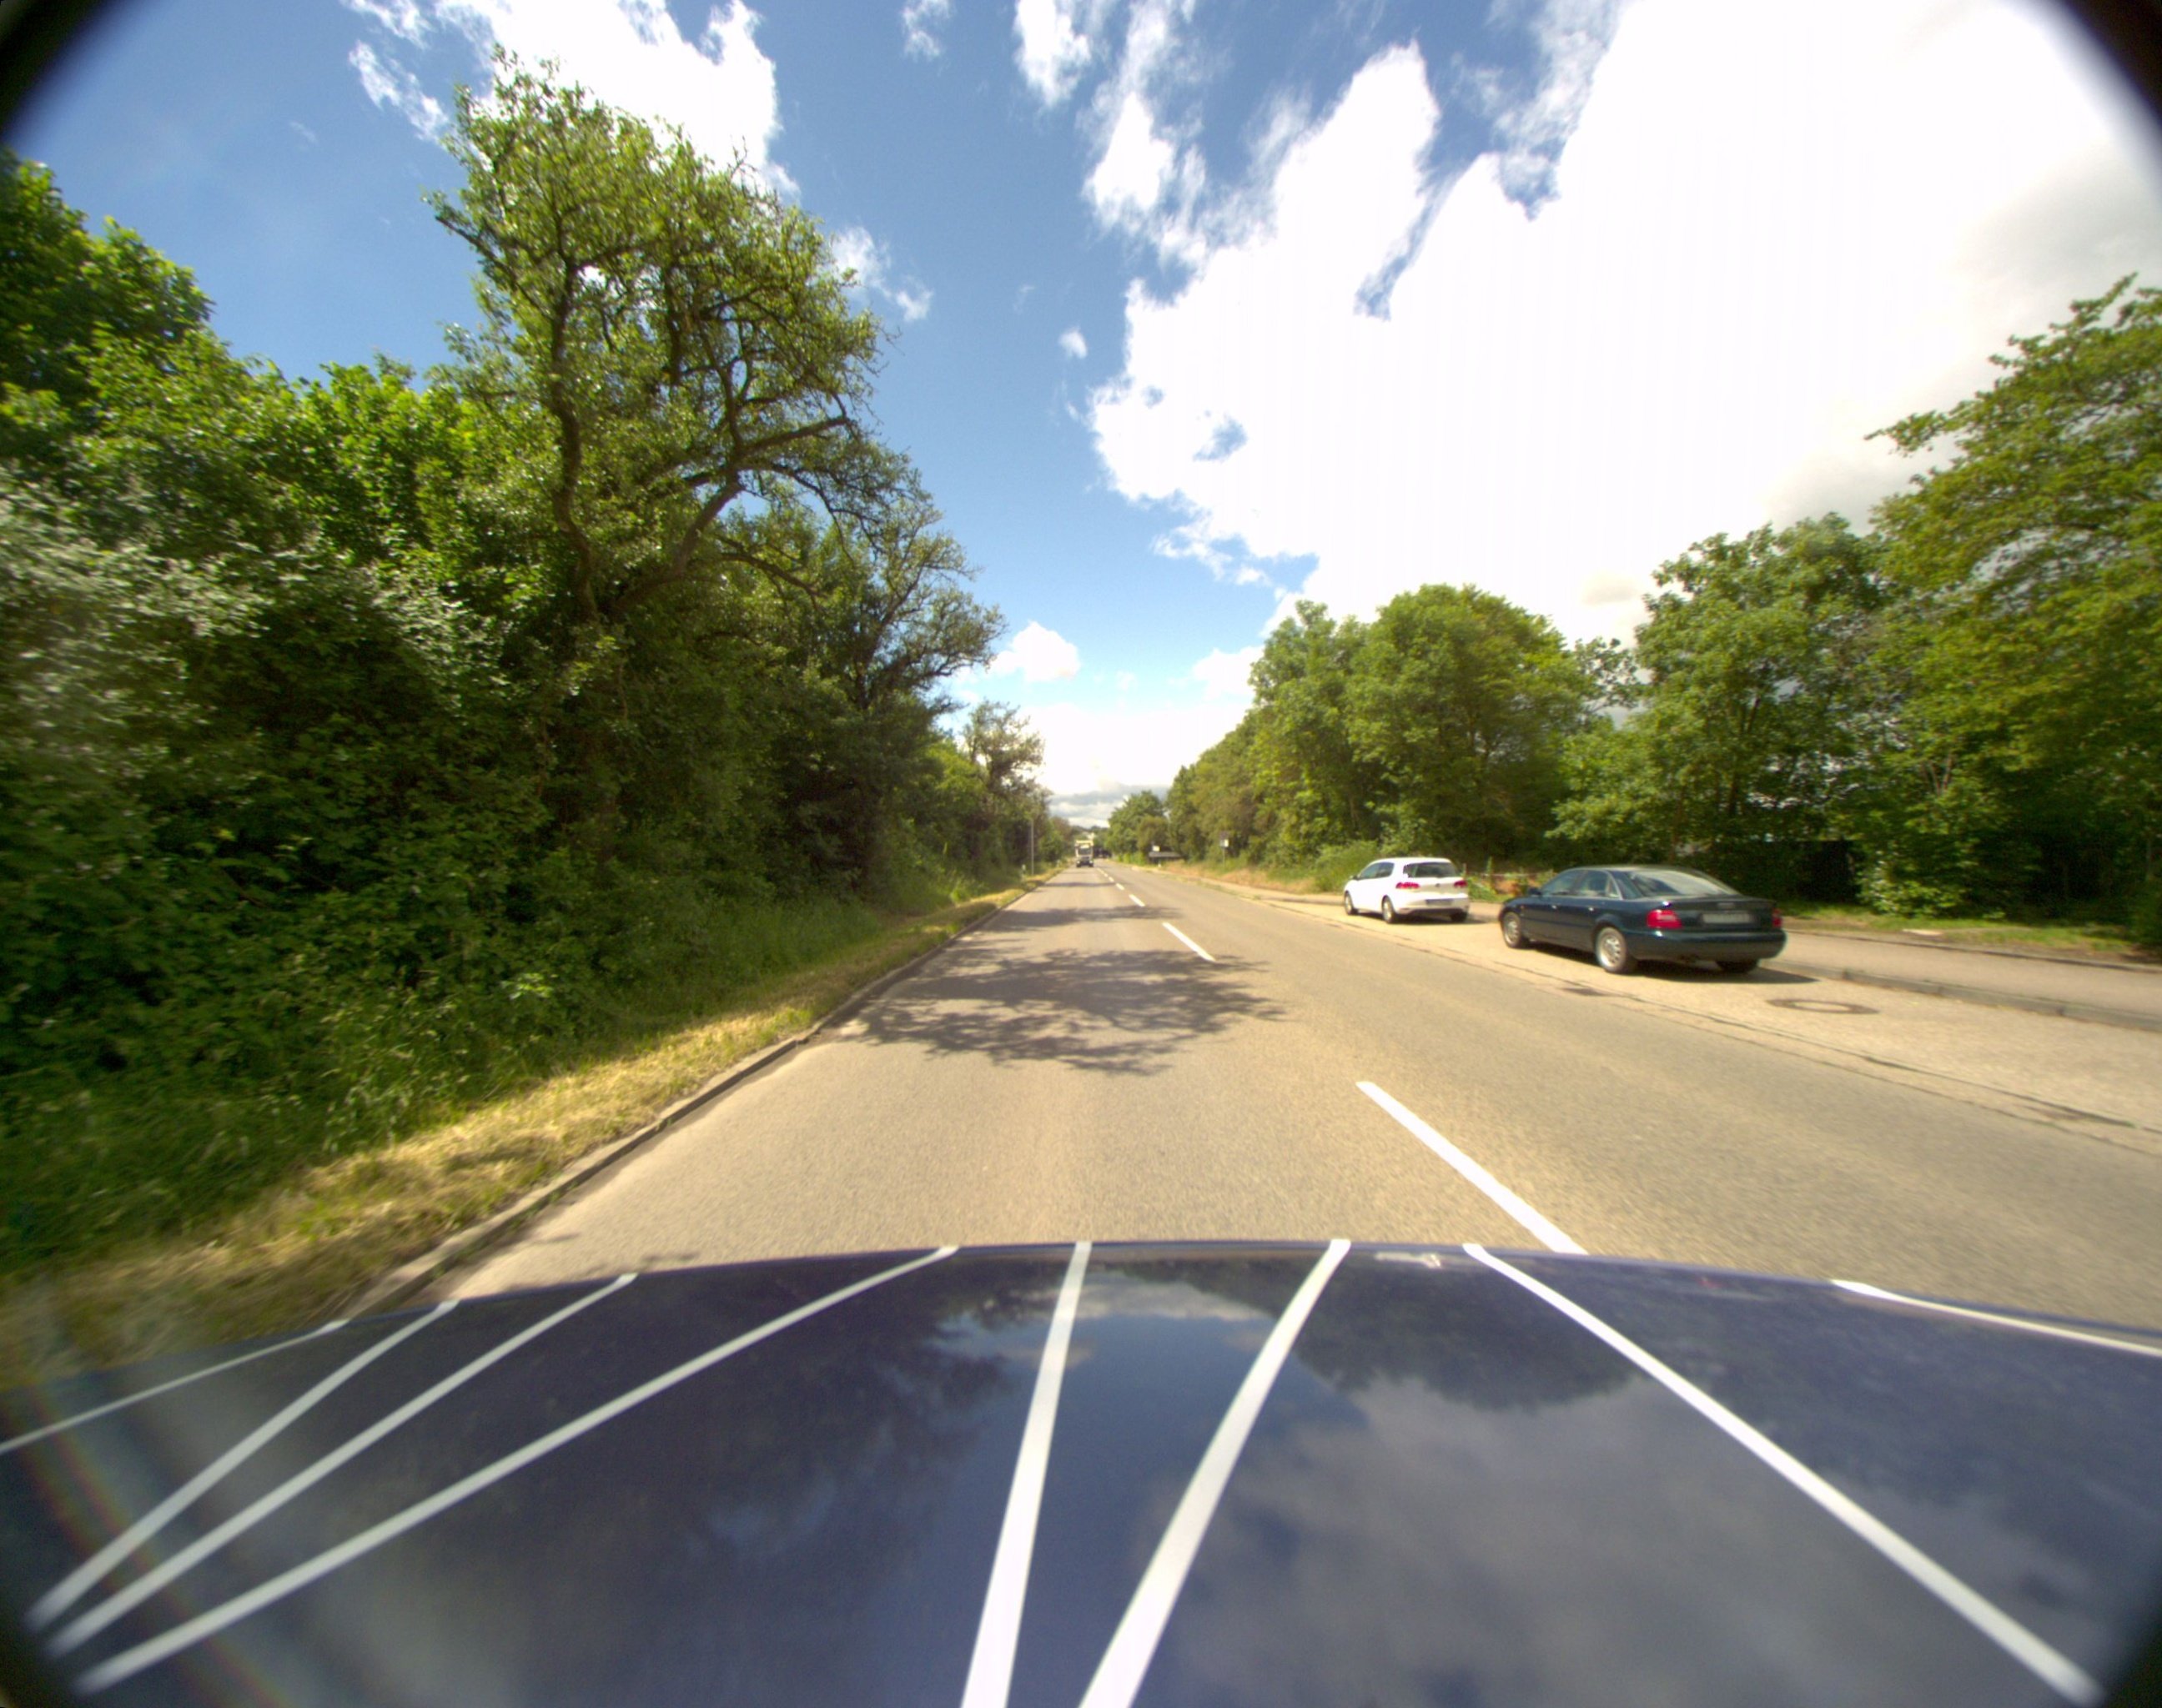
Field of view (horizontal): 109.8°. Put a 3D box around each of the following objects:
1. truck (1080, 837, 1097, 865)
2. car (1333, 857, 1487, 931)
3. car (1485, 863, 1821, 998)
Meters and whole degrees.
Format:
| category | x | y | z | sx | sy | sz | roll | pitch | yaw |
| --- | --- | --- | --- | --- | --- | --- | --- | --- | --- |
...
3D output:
| category | x | y | z | sx | sy | sz | roll | pitch | yaw |
| --- | --- | --- | --- | --- | --- | --- | --- | --- | --- |
| truck | 1.044 | -0.458 | 109.827 | 2.306 | 3.790 | 8.182 | -2 | 1 | 0 |
| car | 7.720 | 0.858 | 18.311 | 1.772 | 1.461 | 4.245 | -2 | 1 | -1 |
| car | 7.729 | 0.914 | 10.898 | 1.772 | 1.400 | 4.265 | -2 | 1 | 3 |
